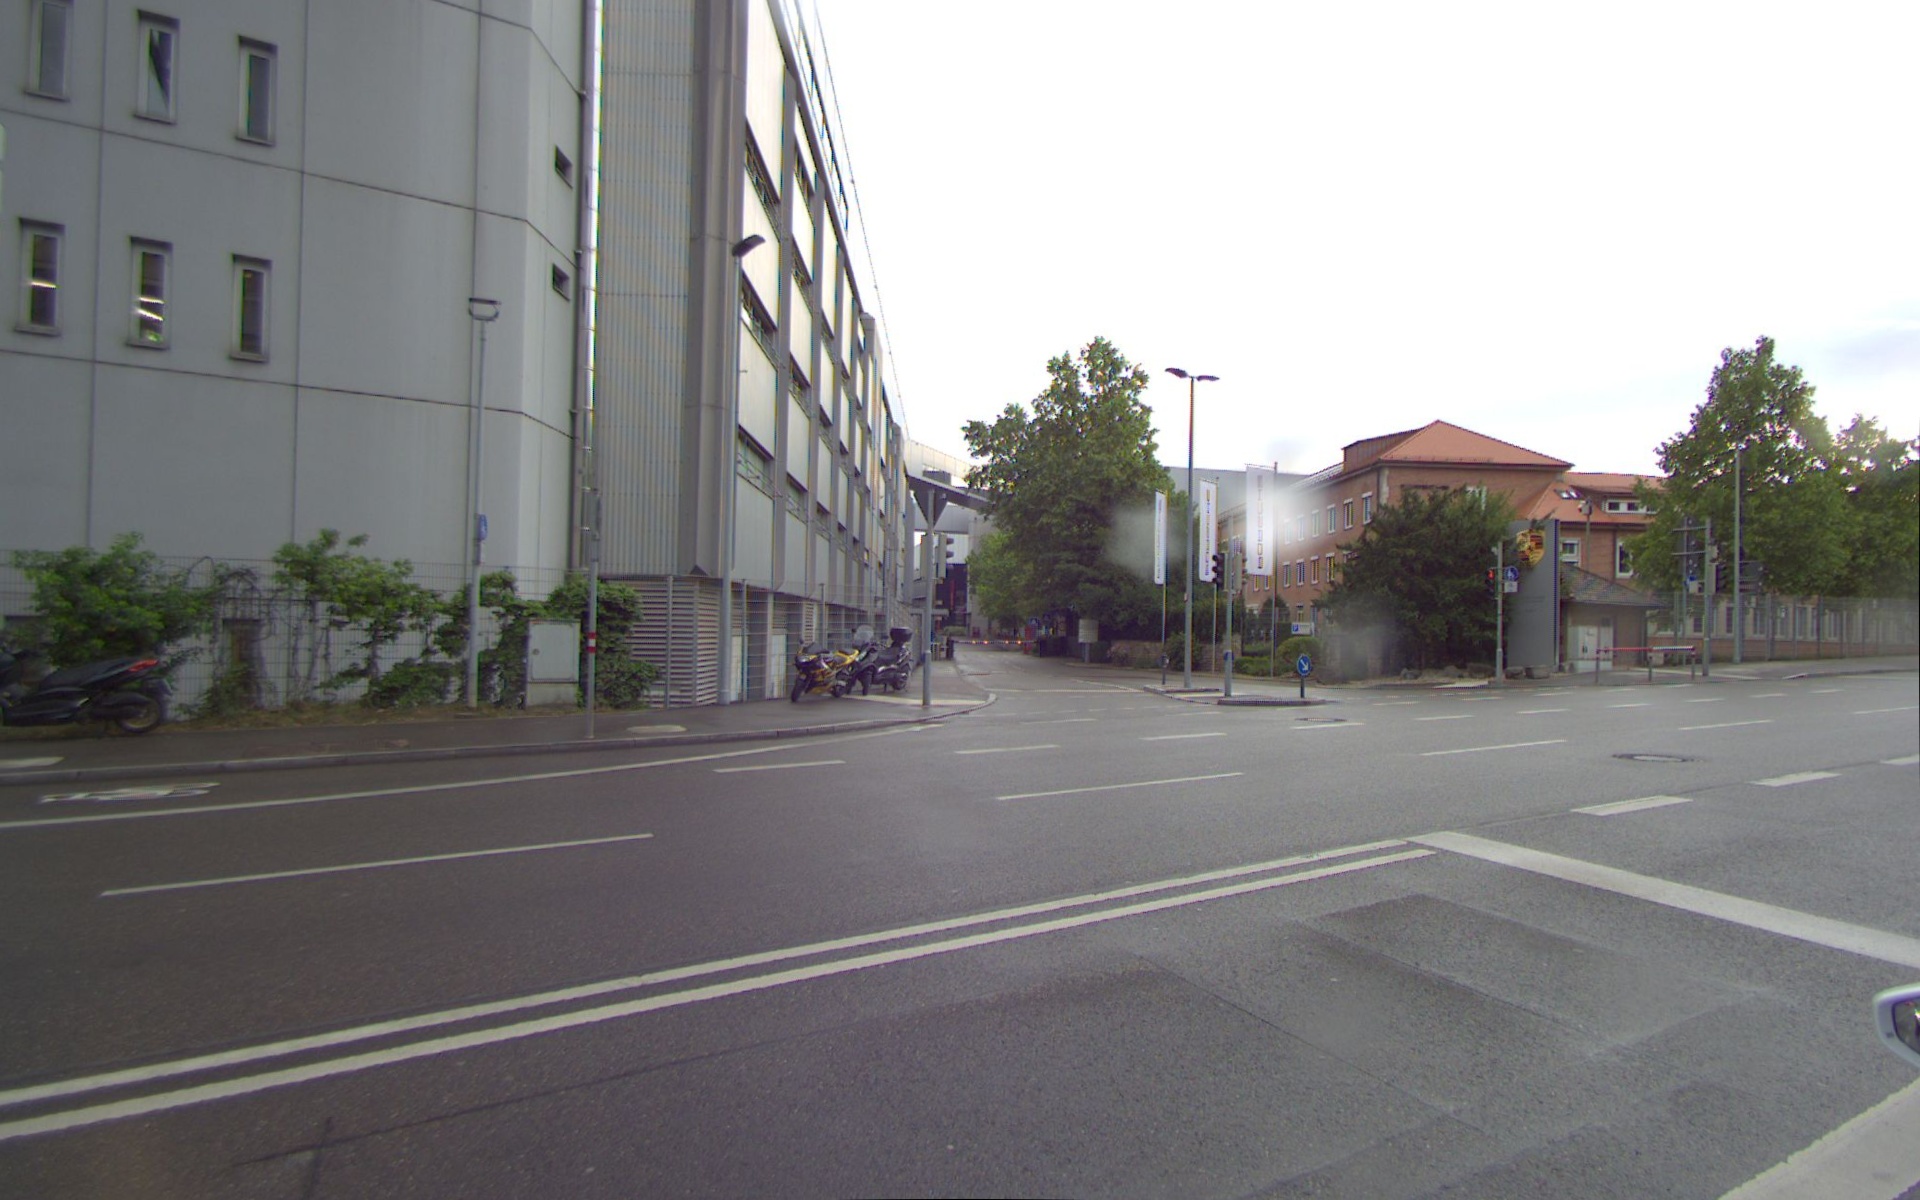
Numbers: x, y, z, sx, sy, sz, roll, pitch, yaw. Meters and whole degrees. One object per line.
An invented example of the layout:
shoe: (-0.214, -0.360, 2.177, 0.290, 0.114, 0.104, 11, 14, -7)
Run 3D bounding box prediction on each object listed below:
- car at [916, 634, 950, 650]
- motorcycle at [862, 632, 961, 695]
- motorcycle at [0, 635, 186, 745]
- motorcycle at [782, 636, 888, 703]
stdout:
car: (-3.517, 5.522, 131.424, 3.913, 1.849, 1.955, 2, 1, -31)
motorcycle: (-1.044, 1.403, 22.862, 1.008, 1.355, 2.772, -1, -2, 27)
motorcycle: (-10.801, 1.060, 12.177, 2.133, 1.263, 0.780, 1, -1, -31)
motorcycle: (-2.498, 1.371, 20.426, 0.759, 1.234, 2.504, 0, -1, 30)
